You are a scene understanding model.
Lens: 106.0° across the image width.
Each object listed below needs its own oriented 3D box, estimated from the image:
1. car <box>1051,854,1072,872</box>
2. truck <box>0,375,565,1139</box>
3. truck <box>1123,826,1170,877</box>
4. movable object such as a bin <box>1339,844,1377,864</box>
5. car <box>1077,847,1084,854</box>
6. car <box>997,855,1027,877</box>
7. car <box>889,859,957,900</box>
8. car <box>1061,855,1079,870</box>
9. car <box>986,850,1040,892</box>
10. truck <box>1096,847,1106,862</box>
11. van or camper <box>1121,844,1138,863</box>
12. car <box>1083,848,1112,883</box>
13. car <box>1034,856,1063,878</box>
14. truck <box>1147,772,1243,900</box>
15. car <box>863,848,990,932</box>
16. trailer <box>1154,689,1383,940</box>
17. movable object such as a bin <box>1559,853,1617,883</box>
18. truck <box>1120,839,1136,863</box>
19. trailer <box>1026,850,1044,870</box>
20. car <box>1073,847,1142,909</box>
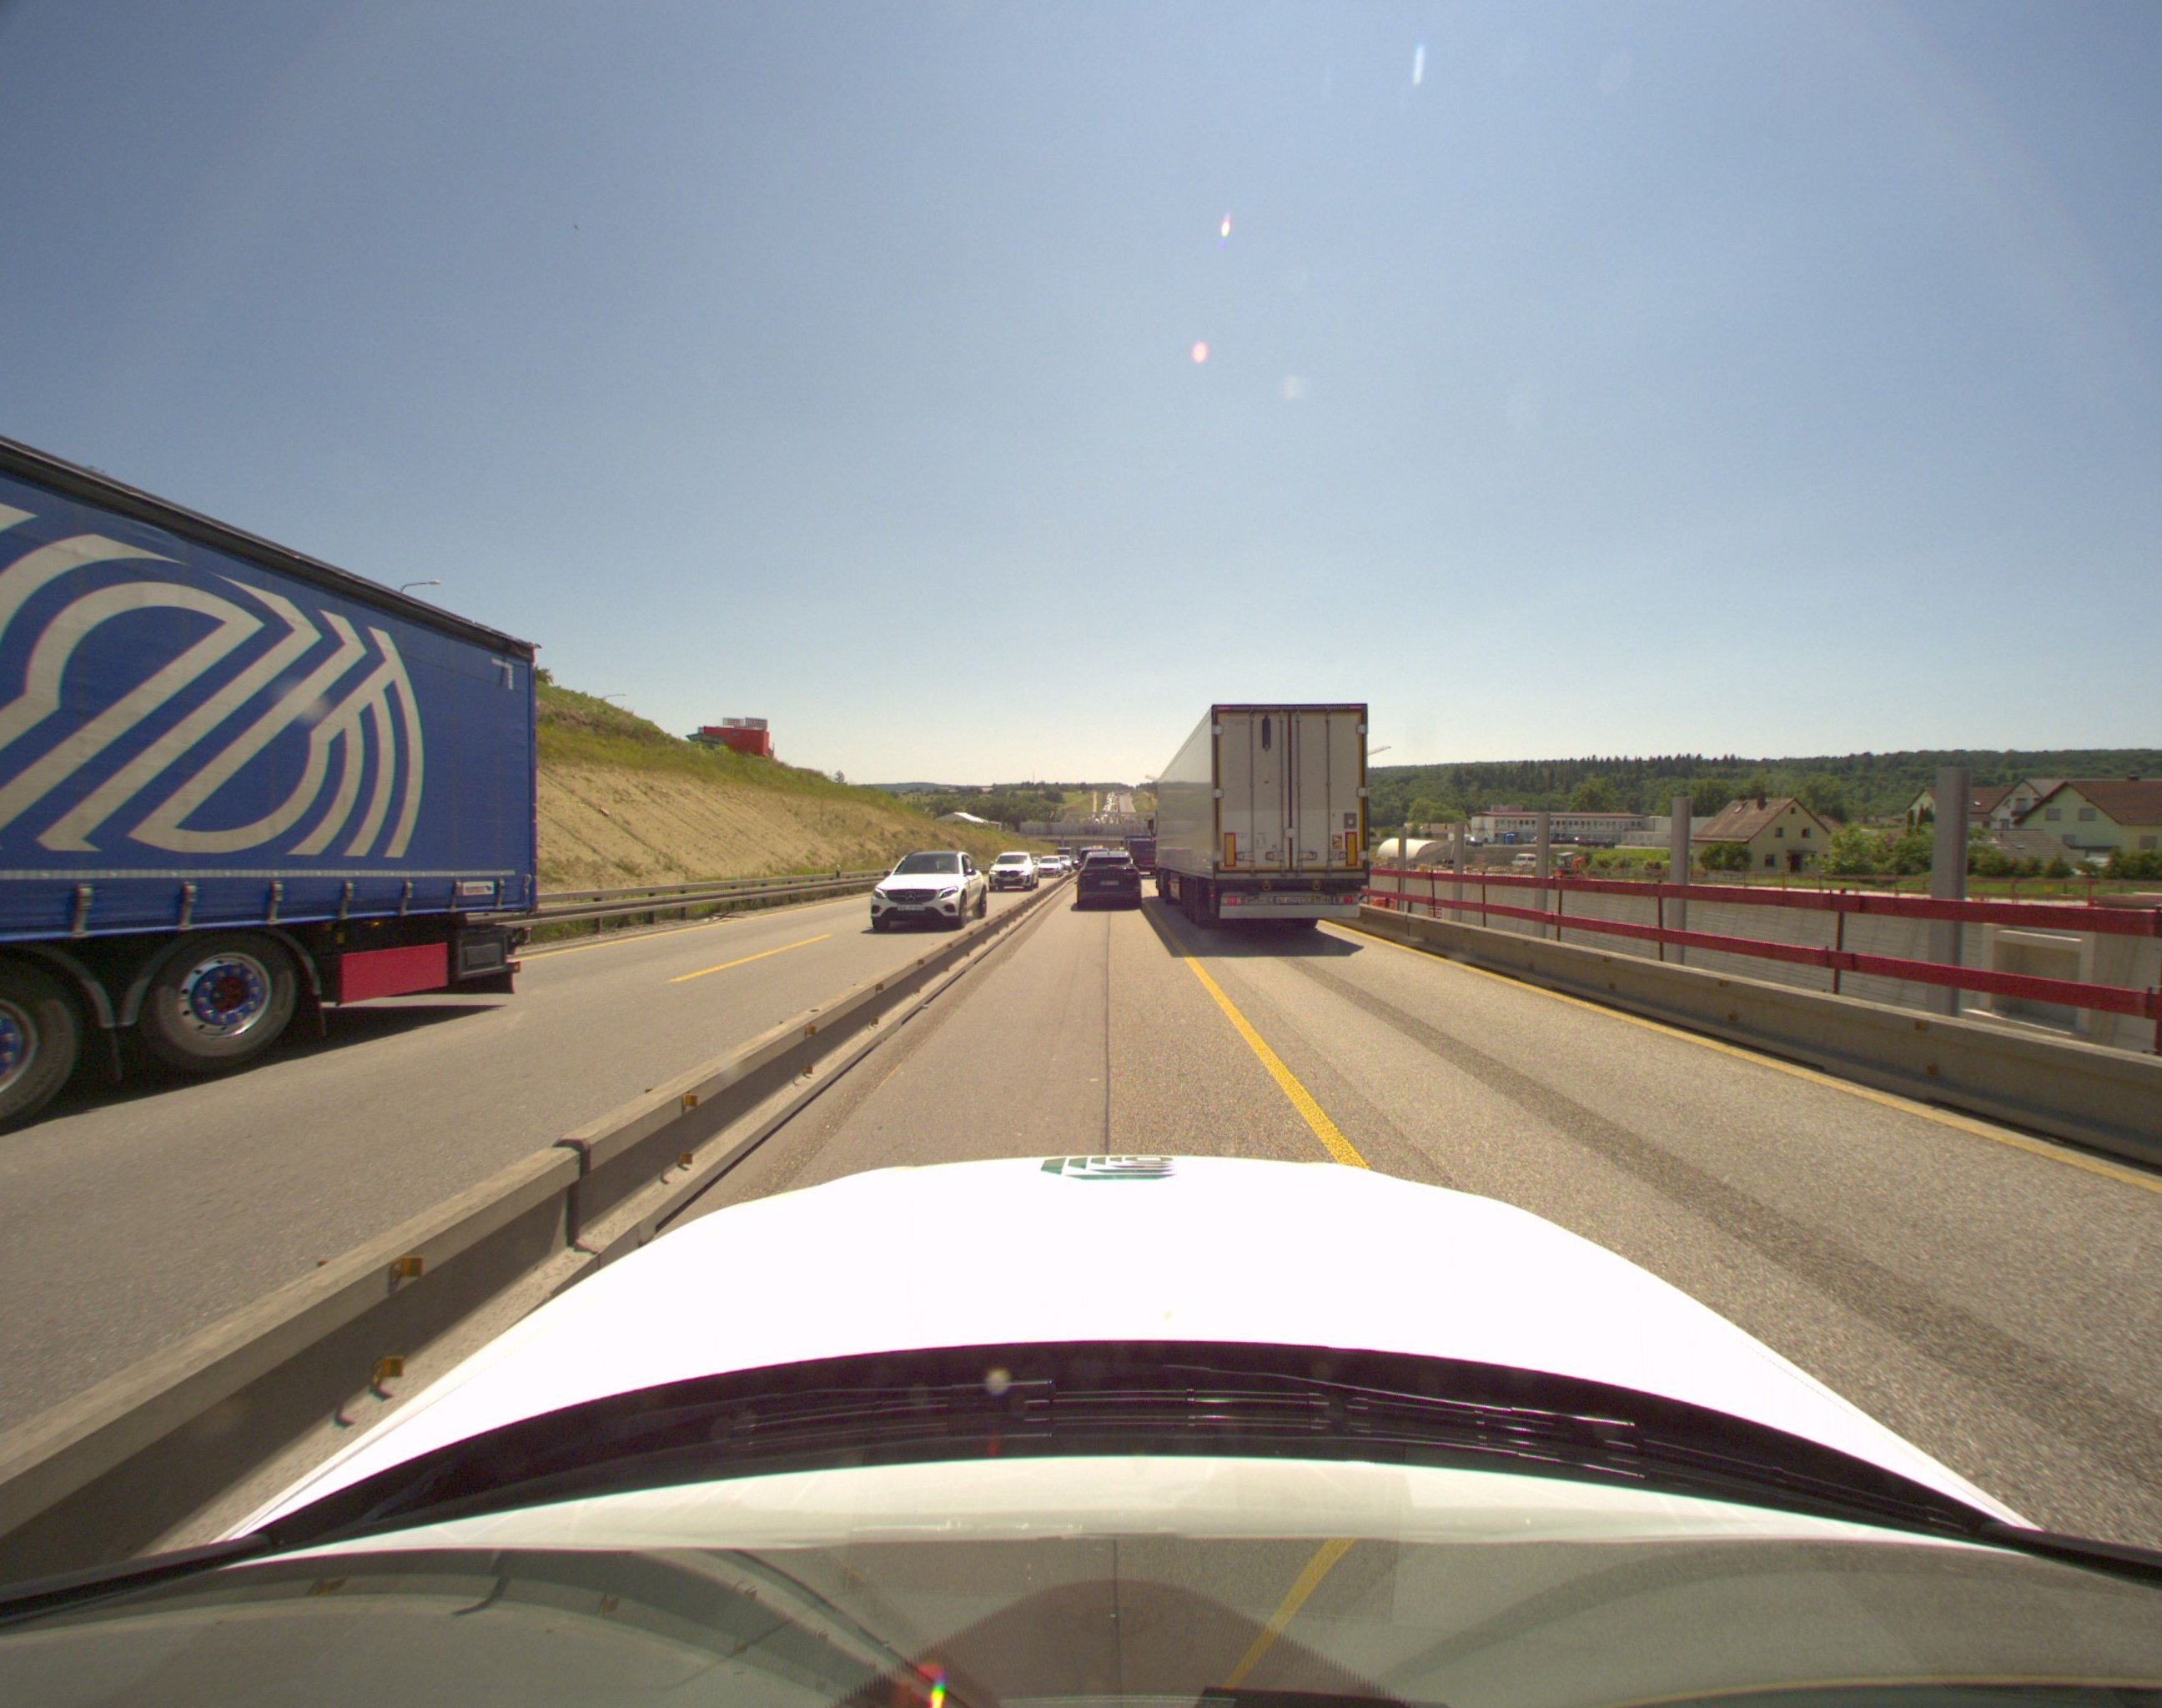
[{"bbox_3d":[-1.802,0.823,75.729,1.809,1.592,4.291,0,0,1],"label":"car"},{"bbox_3d":[-7.554,-0.516,2.091,3.231,4.160,13.982,-1,0,1],"label":"truck"},{"bbox_3d":[4.385,-0.129,57.007,2.803,3.135,12.845,-1,0,2],"label":"truck"},{"bbox_3d":[41.580,-0.037,122.383,2.876,2.909,9.485,0,0,2],"label":"movable object such as a bin"},{"bbox_3d":[-0.170,-0.958,207.671,1.726,1.794,3.581,0,0,1],"label":"car"},{"bbox_3d":[-5.266,0.892,62.693,1.892,1.584,4.515,0,0,1],"label":"car"},{"bbox_3d":[-5.806,0.904,30.430,1.695,1.378,3.967,0,0,1],"label":"car"},{"bbox_3d":[-1.308,0.968,98.005,1.883,1.708,4.564,-1,0,2],"label":"car"},{"bbox_3d":[-2.932,0.698,35.905,1.884,1.708,4.562,0,0,1],"label":"car"},{"bbox_3d":[5.213,0.209,212.334,2.757,3.884,4.966,0,0,2],"label":"truck"},{"bbox_3d":[5.980,-0.095,101.046,1.986,2.244,4.002,1,0,2],"label":"van or camper"},{"bbox_3d":[0.942,0.598,44.776,1.469,1.795,3.300,-1,0,3],"label":"car"},{"bbox_3d":[-2.258,0.892,57.441,1.800,1.477,4.281,0,0,1],"label":"car"},{"bbox_3d":[3.867,-0.562,28.633,2.766,4.058,4.906,-1,-1,1],"label":"truck"},{"bbox_3d":[-3.296,0.718,18.267,1.805,1.638,4.365,-1,0,2],"label":"car"},{"bbox_3d":[3.687,-0.605,20.346,2.791,4.058,14.121,-1,0,2],"label":"trailer"},{"bbox_3d":[38.956,1.061,62.728,1.985,2.239,4.154,0,0,2],"label":"movable object such as a bin"},{"bbox_3d":[7.957,-0.576,138.236,2.509,3.959,7.601,1,0,1],"label":"truck"},{"bbox_3d":[-4.858,0.624,85.913,1.642,2.025,4.268,-1,0,-1],"label":"trailer"},{"bbox_3d":[0.766,0.634,23.515,1.794,1.620,3.299,-1,0,2],"label":"car"}]
